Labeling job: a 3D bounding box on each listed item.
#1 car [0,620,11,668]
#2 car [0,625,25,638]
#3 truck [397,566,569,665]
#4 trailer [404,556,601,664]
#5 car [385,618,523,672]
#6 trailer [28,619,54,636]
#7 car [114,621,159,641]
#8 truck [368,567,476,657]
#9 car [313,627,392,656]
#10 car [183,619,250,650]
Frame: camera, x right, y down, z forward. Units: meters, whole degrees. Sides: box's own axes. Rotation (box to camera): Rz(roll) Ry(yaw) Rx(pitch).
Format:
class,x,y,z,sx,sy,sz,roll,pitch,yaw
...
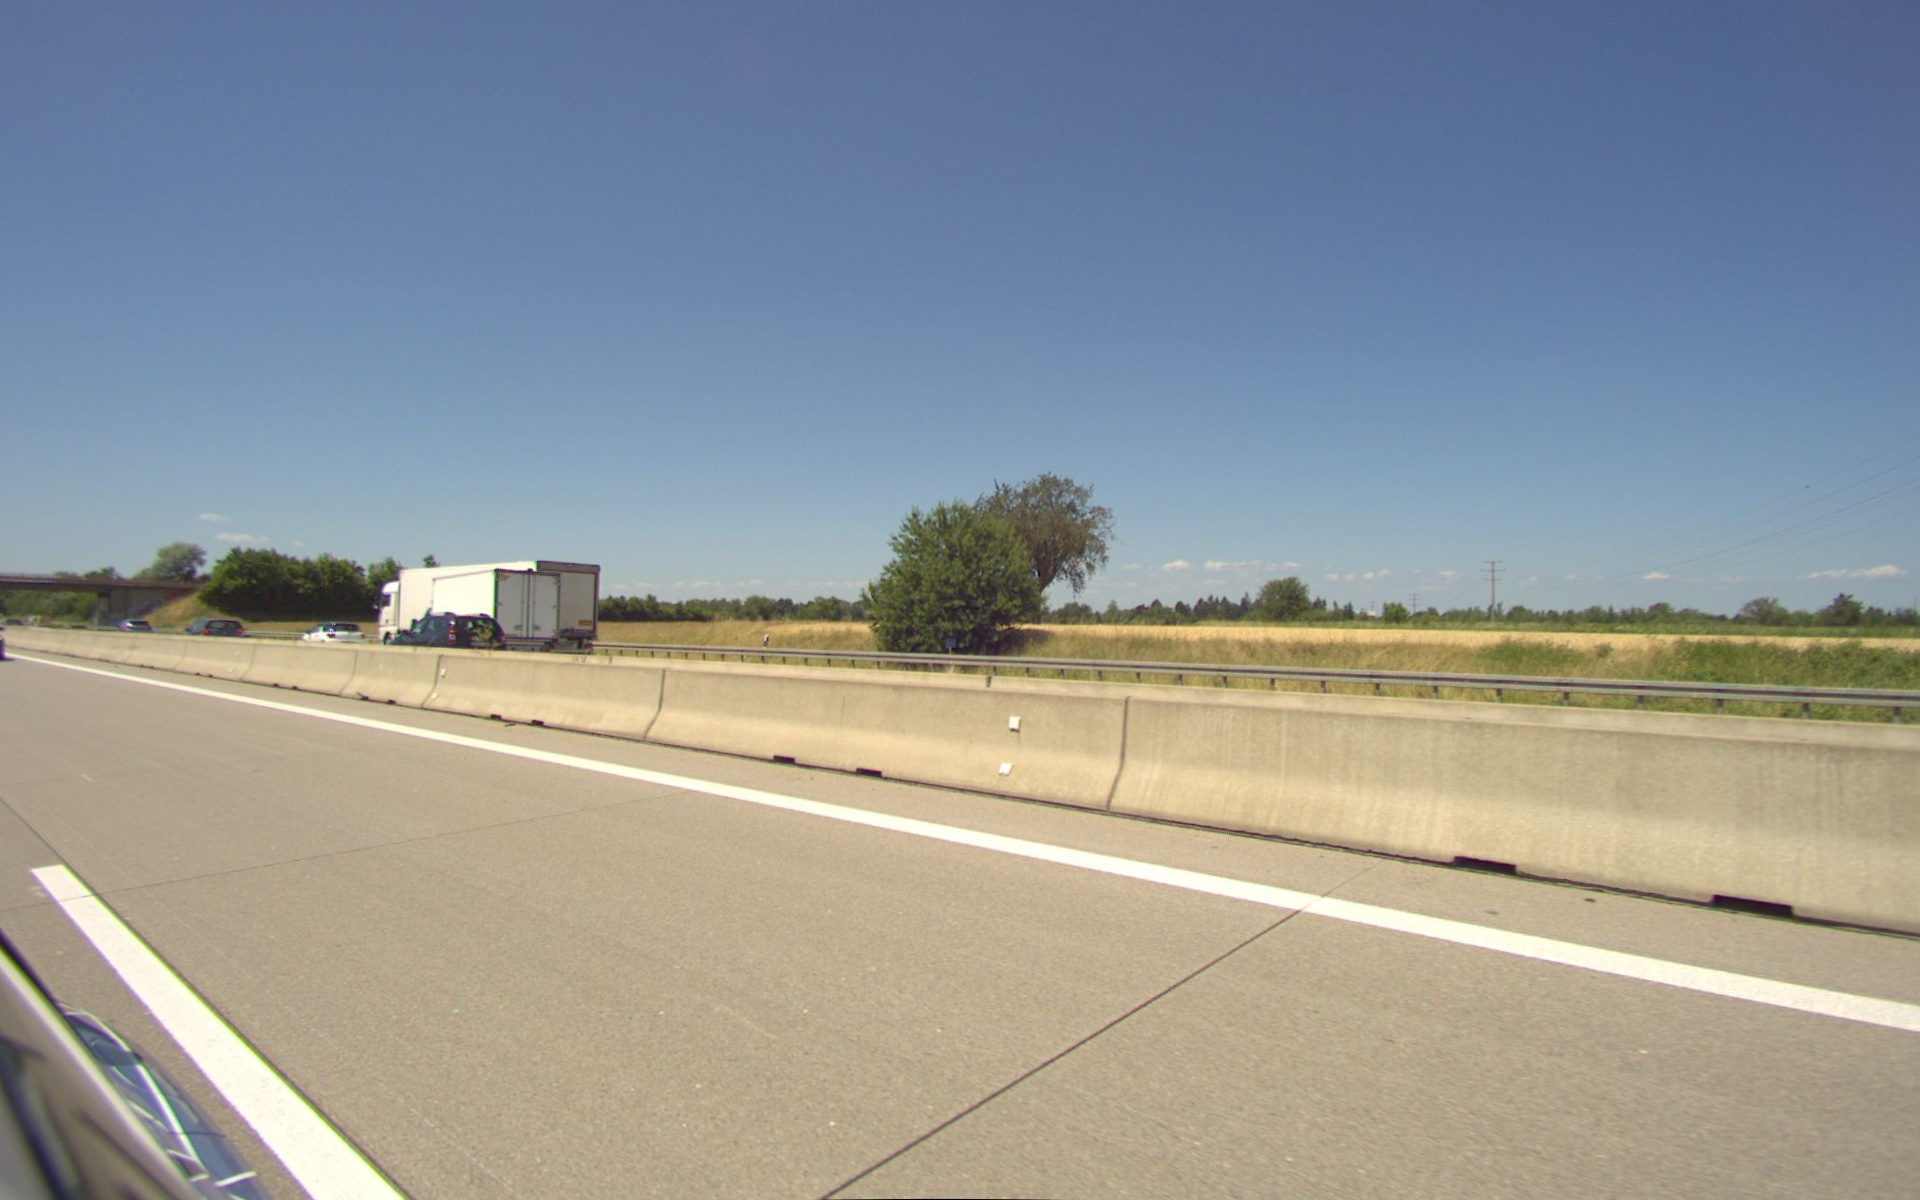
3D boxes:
class,x,y,z,sx,sy,sz,roll,pitch,yaw
car,-32.706,1.391,32.878,6.342,1.482,1.973,-1,-2,40
car,-112.073,3.701,119.611,5.040,1.370,1.695,-1,0,41
truck,-16.966,0.552,35.717,7.918,3.166,2.521,-1,-1,41
trailer,-19.949,0.455,43.443,12.673,4.075,2.790,-1,0,42
car,-13.939,1.187,27.772,4.491,1.362,1.827,-1,-2,41
trailer,-116.790,3.464,128.575,5.611,2.058,1.791,-1,0,41
car,-60.718,2.229,74.568,4.903,1.383,1.717,-1,0,41
truck,-26.044,0.563,48.885,5.676,4.075,2.789,-1,0,42
car,-26.378,1.775,43.875,4.395,1.155,1.663,-1,-2,41
car,-30.592,1.409,41.614,3.373,1.172,1.527,-1,0,41
